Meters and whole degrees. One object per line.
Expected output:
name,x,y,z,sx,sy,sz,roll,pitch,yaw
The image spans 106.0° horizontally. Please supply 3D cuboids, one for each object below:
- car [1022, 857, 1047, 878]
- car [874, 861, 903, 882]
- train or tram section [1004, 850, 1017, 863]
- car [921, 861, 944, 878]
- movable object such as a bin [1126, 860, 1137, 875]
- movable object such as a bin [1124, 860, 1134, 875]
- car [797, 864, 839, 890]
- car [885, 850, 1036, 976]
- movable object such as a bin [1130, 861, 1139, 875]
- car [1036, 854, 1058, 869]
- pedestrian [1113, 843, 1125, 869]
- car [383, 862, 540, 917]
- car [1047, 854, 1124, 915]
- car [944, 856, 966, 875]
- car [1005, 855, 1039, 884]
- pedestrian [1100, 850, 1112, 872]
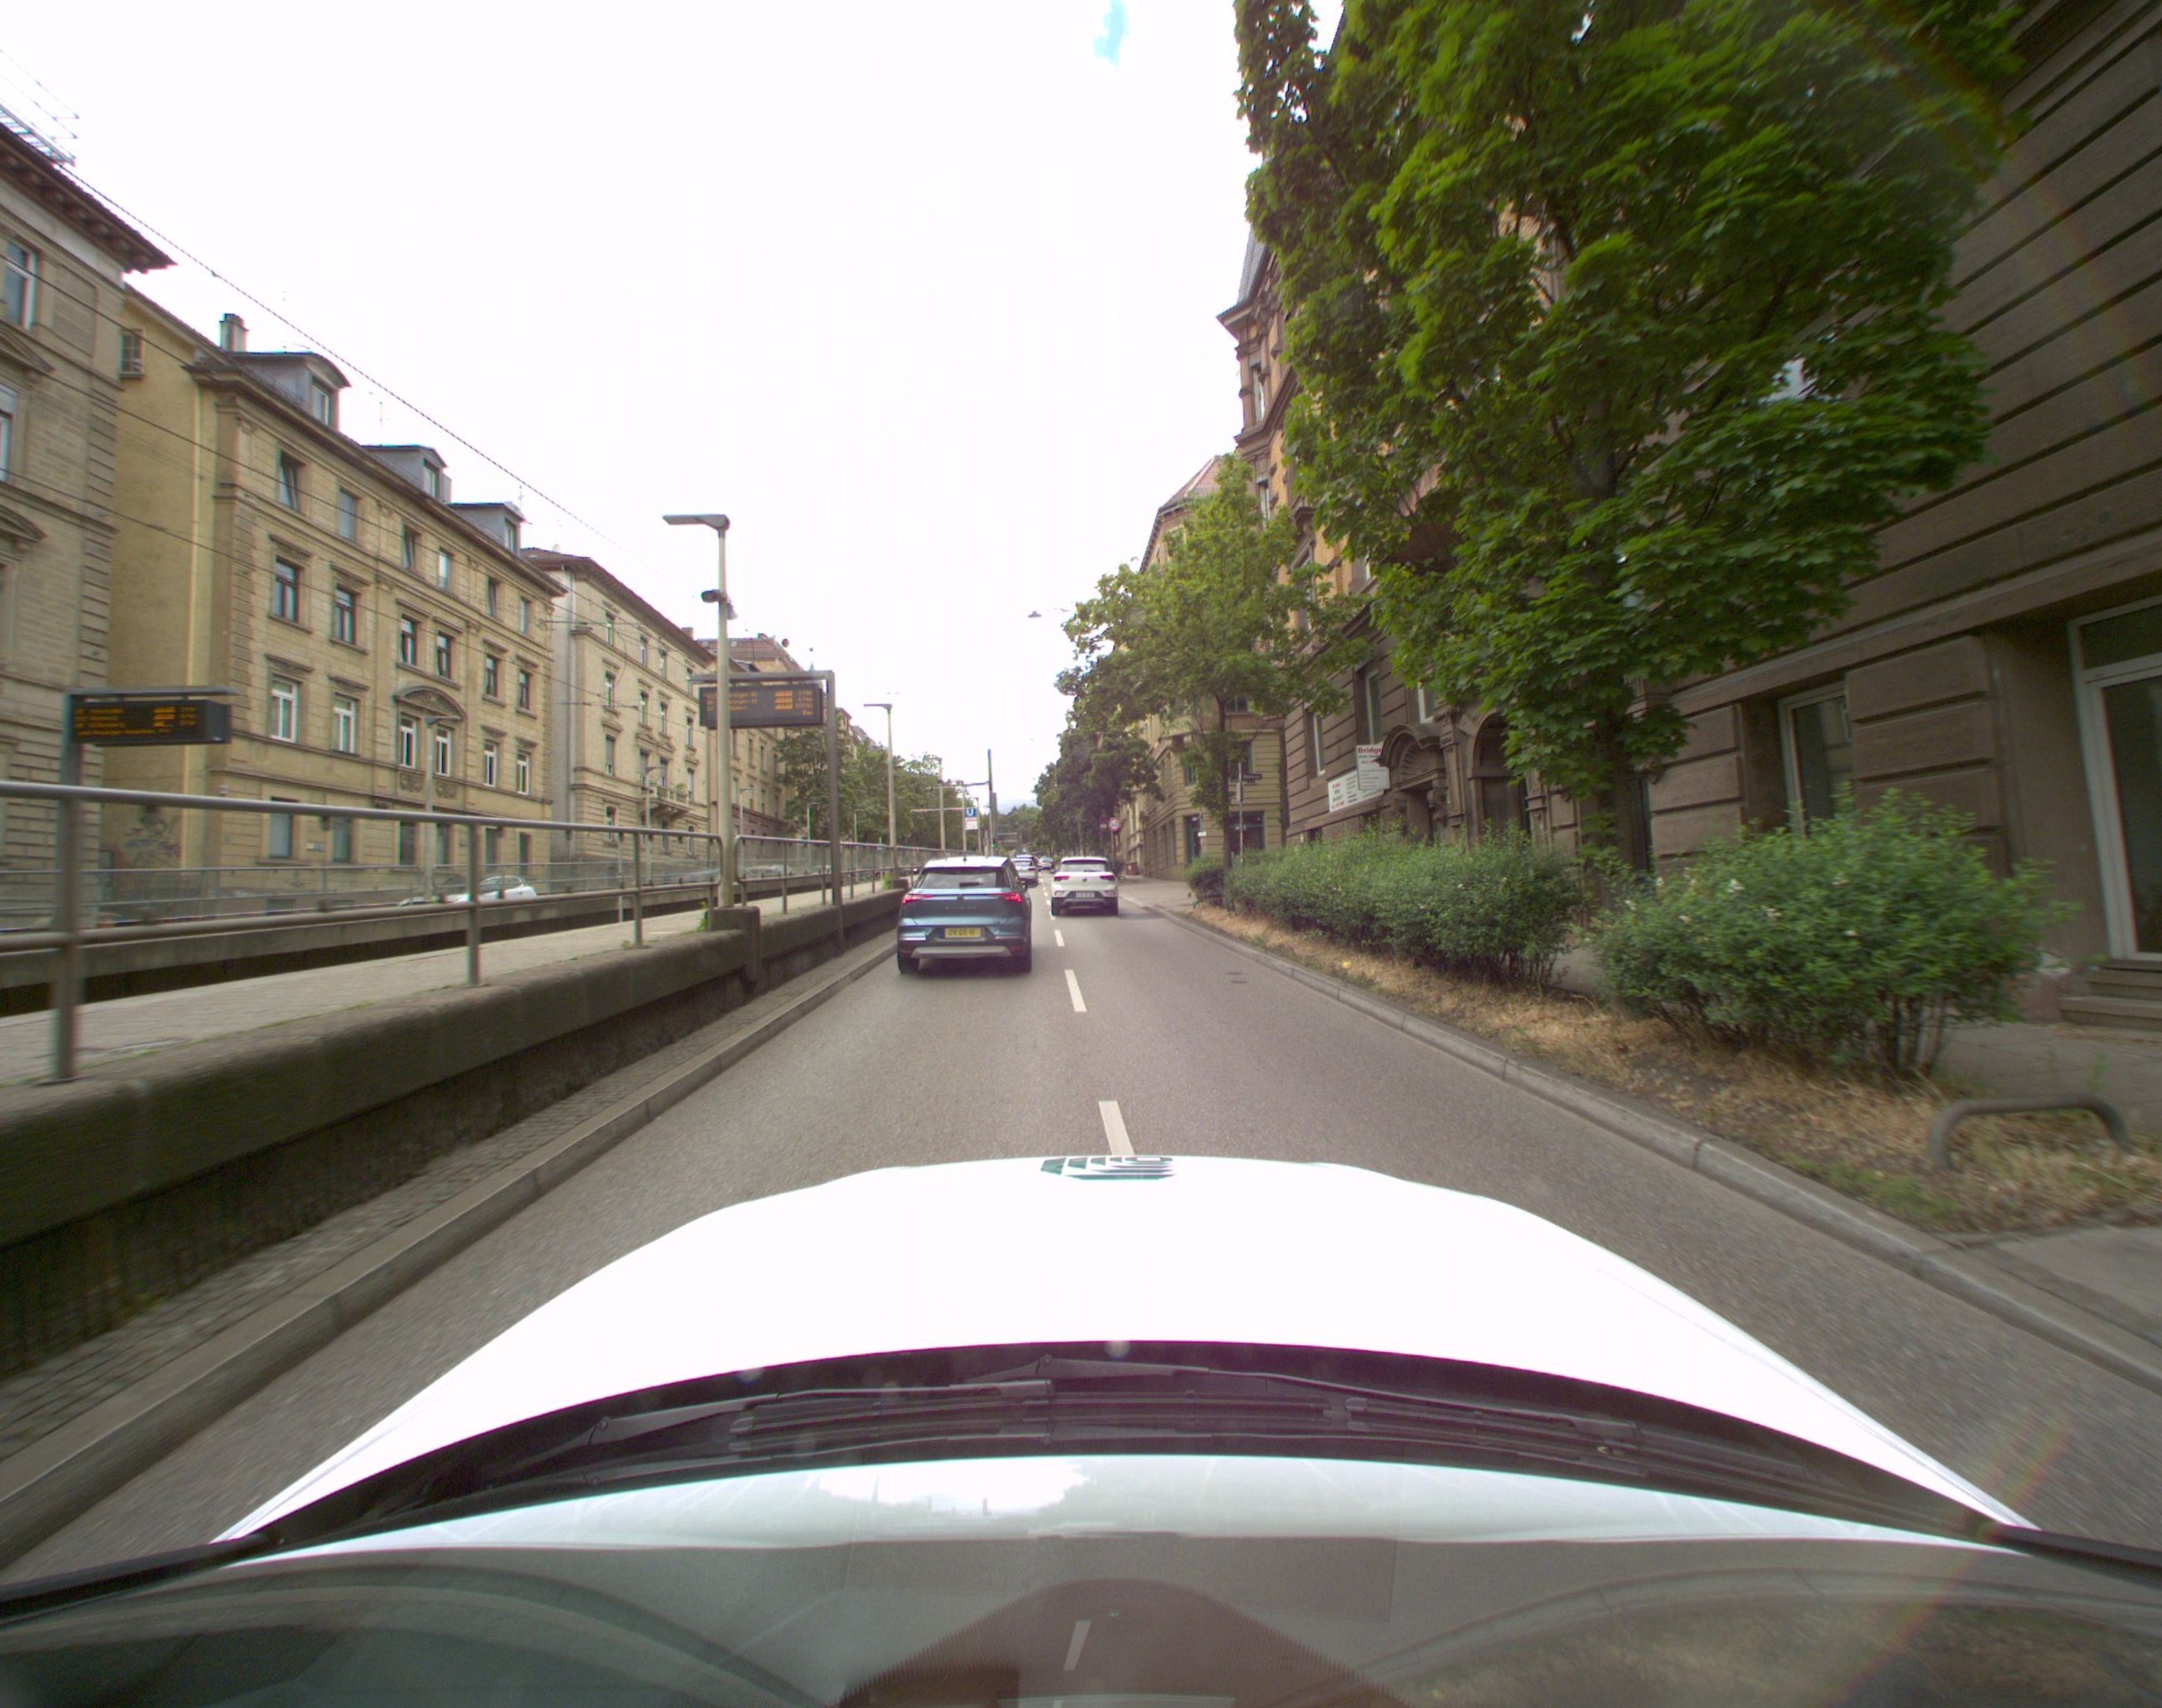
car,-3.492,0.994,61.255,1.831,1.546,4.189,-1,-1,-3
car,-18.475,1.651,78.414,1.843,1.860,4.136,-2,0,-1
train or tram section,-19.683,0.667,228.828,2.988,3.349,13.426,-2,-1,-2
car,-15.898,1.661,87.475,1.705,1.735,4.572,-2,0,-3
movable object such as a bin,3.422,0.921,55.045,0.505,0.919,0.487,-4,-1,-45
movable object such as a bin,3.266,0.923,55.625,0.610,0.919,0.493,-4,-1,-1
car,-19.619,1.691,60.909,1.932,1.679,3.995,-3,0,-4
car,-1.612,0.759,12.271,1.831,1.546,4.189,-1,-1,-3
movable object such as a bin,3.560,0.916,54.399,0.496,0.919,0.446,-3,0,16
car,-3.505,0.778,85.452,2.061,1.546,4.193,-1,-1,0
pedestrian,2.792,0.160,59.775,0.684,1.829,1.120,-4,-1,-3
car,-18.692,1.005,24.842,1.764,1.471,4.254,-1,0,-5
car,0.036,0.799,22.832,1.832,1.546,4.187,0,-1,-4
car,-19.400,1.772,125.809,2.386,2.699,6.512,-4,0,-2
car,-3.315,0.870,46.689,1.831,1.546,4.189,-1,-1,-3
pedestrian,1.840,0.493,59.860,0.684,1.574,1.215,-4,0,-3
